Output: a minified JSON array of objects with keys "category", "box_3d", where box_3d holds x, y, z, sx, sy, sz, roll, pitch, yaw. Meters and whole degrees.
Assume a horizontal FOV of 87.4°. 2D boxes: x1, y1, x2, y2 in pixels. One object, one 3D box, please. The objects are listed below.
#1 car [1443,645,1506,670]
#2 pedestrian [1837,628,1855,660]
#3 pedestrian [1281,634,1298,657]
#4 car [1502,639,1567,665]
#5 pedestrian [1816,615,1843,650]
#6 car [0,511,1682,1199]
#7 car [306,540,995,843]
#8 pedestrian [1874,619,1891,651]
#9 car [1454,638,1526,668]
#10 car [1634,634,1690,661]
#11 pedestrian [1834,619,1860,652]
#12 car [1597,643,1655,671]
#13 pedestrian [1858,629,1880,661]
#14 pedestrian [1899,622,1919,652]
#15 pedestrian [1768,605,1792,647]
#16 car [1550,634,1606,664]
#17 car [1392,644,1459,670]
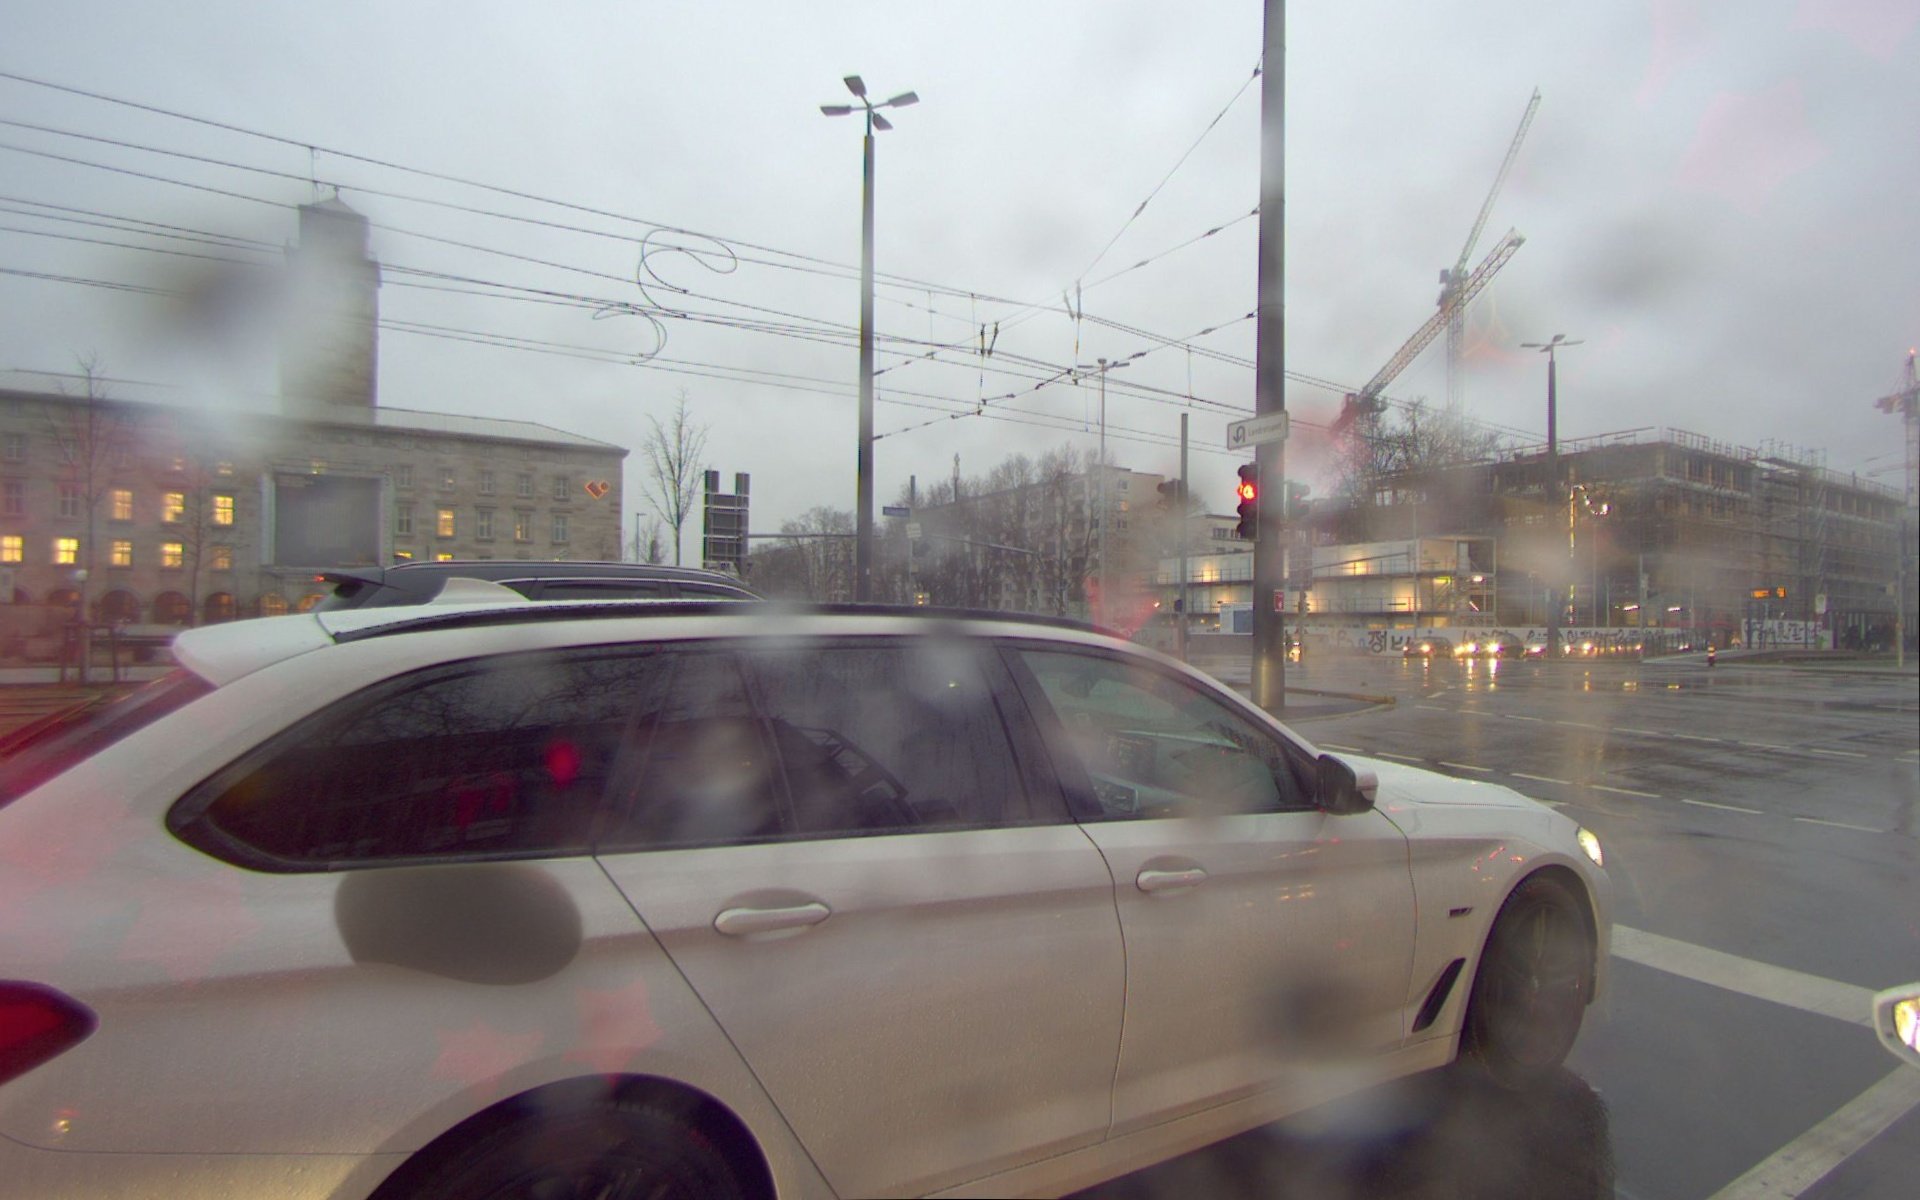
[{"category":"car","box_3d":[34.597,3.851,67.483,3.953,1.550,1.984,2,-2,-30]},{"category":"pedestrian","box_3d":[54.430,2.690,61.706,0.547,1.906,0.695,2,0,-30]},{"category":"pedestrian","box_3d":[20.424,2.810,62.265,0.713,1.407,0.727,2,0,-19]},{"category":"car","box_3d":[35.883,3.248,62.719,4.577,1.550,2.059,2,-2,-40]},{"category":"pedestrian","box_3d":[53.184,1.987,61.437,1.083,2.040,0.936,2,0,-34]},{"category":"car","box_3d":[0.020,0.711,3.112,4.508,1.506,2.007,2,-2,-31]},{"category":"car","box_3d":[-2.066,0.557,7.235,4.238,1.605,1.958,2,-1,-29]},{"category":"pedestrian","box_3d":[57.937,2.195,63.065,0.659,1.994,0.566,2,1,-36]},{"category":"car","box_3d":[31.211,3.083,59.092,3.953,1.679,1.984,2,-2,-30]},{"category":"car","box_3d":[51.361,3.479,73.492,3.956,1.814,1.982,2,0,-32]},{"category":"pedestrian","box_3d":[55.495,2.216,62.835,1.082,2.040,0.936,2,0,-33]},{"category":"car","box_3d":[46.743,4.000,70.486,3.956,1.814,1.982,2,0,-32]},{"category":"pedestrian","box_3d":[56.165,2.751,62.050,0.754,1.922,0.761,3,-1,-30]},{"category":"pedestrian","box_3d":[66.086,2.571,69.838,1.084,2.040,0.935,2,0,-38]},{"category":"pedestrian","box_3d":[47.251,1.511,57.883,0.754,2.354,0.761,3,-1,-30]},{"category":"car","box_3d":[41.007,3.243,66.613,3.963,1.852,1.852,2,0,-37]},{"category":"car","box_3d":[29.559,3.593,63.709,3.953,1.550,1.984,2,-2,-30]}]
